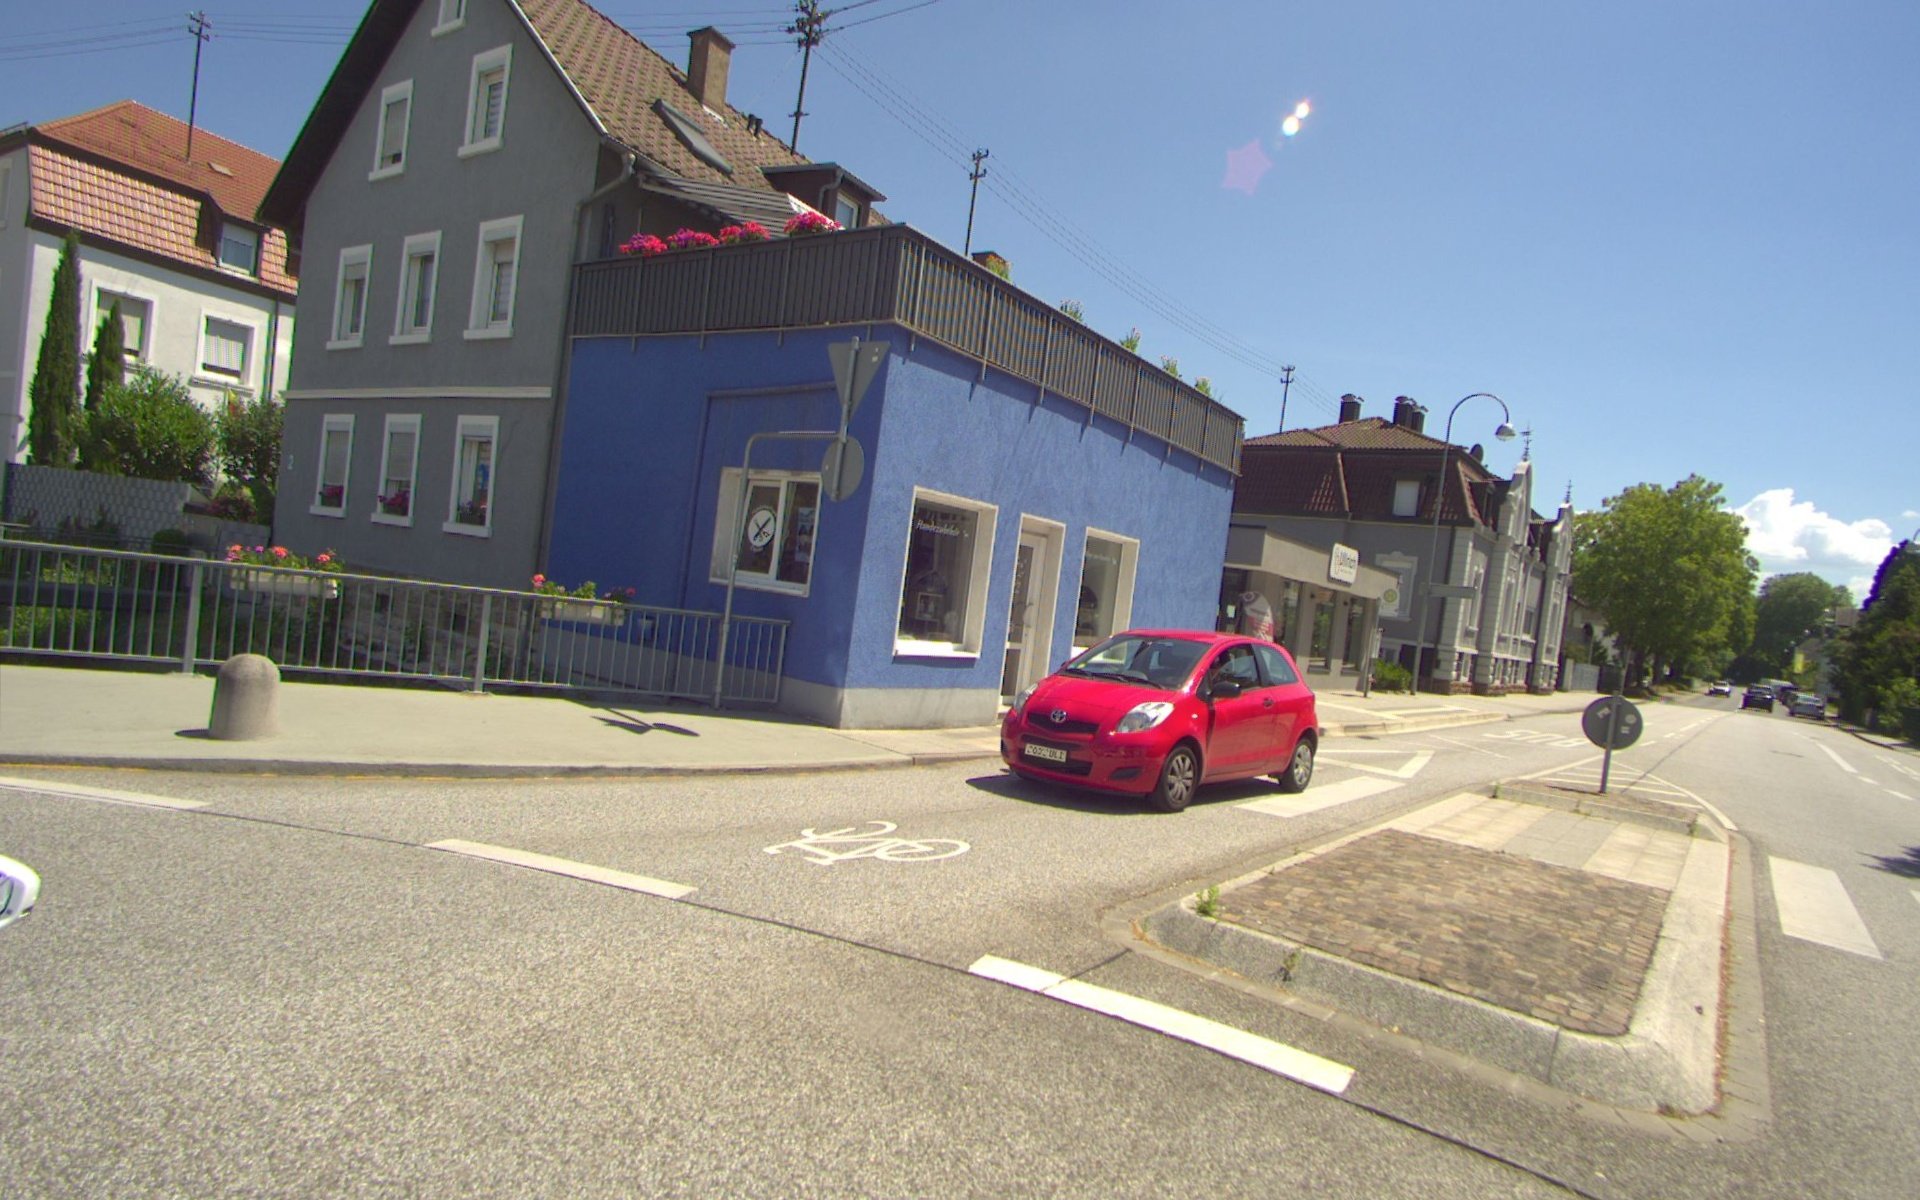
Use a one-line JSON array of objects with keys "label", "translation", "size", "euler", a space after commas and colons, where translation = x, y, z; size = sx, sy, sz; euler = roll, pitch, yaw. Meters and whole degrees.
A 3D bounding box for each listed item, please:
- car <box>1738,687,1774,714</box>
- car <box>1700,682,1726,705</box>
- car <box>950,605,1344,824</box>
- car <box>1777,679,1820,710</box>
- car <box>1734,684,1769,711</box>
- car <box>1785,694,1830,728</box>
[{"label": "car", "translation": [59.114, 7.484, 74.766], "size": [1.713, 1.726, 3.990], "euler": [7, -2, 35]}, {"label": "car", "translation": [82.463, 10.233, 110.187], "size": [1.970, 2.037, 3.988], "euler": [10, 0, 38]}, {"label": "car", "translation": [1.948, 1.006, 9.551], "size": [1.810, 1.551, 3.980], "euler": [3, -2, 42]}, {"label": "car", "translation": [66.754, 7.547, 80.122], "size": [1.968, 2.037, 3.991], "euler": [10, 0, 35]}, {"label": "car", "translation": [70.837, 8.727, 90.059], "size": [1.968, 2.037, 3.991], "euler": [10, 0, 35]}, {"label": "car", "translation": [60.096, 7.892, 71.367], "size": [1.970, 2.037, 3.988], "euler": [10, 0, 38]}]
